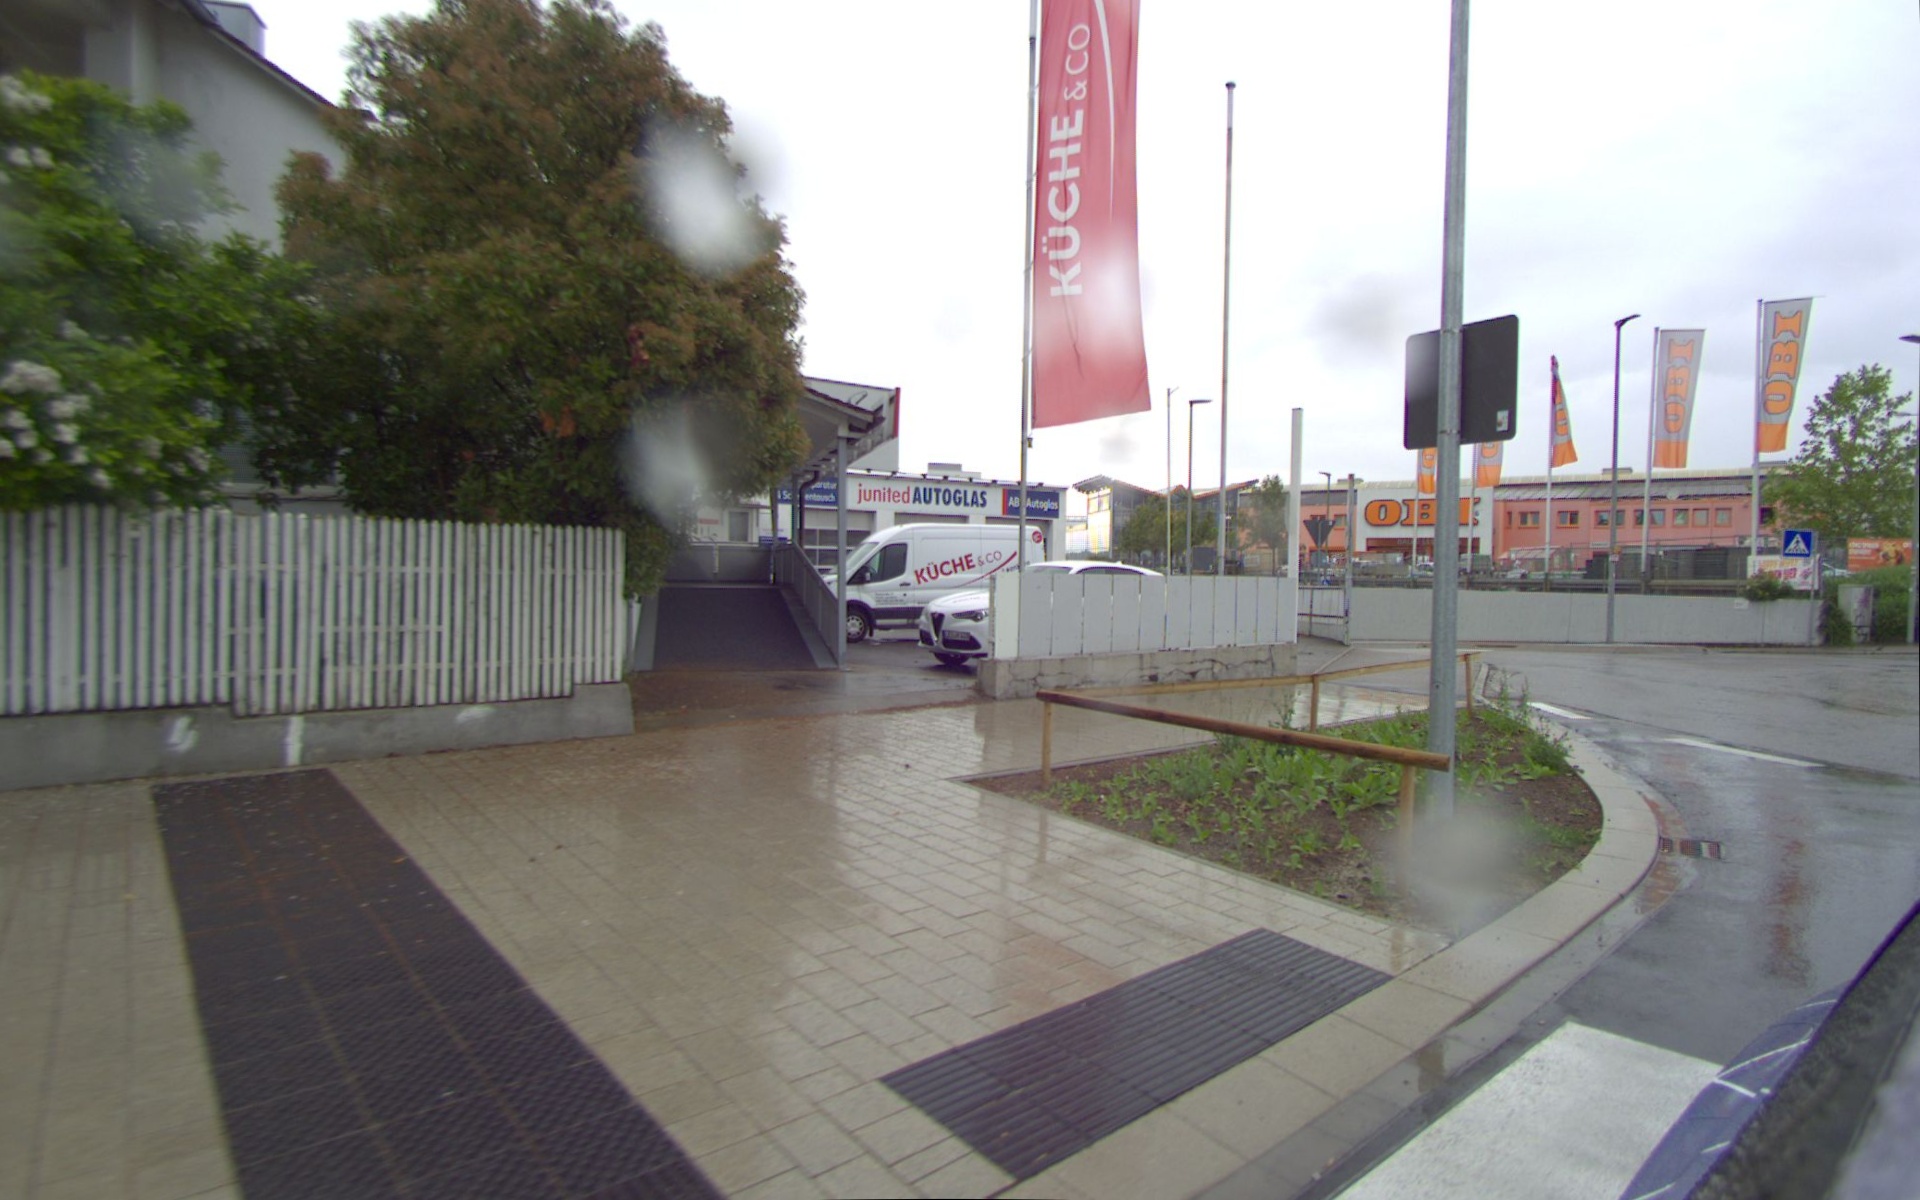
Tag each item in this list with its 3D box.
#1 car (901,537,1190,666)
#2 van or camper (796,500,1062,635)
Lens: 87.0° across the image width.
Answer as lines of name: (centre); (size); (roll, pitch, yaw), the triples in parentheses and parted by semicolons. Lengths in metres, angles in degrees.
car: (1.344, 0.008, 15.371); (4.089, 1.712, 1.848); (1, 1, -33)
van or camper: (-0.665, -0.629, 21.365); (5.152, 2.572, 2.135); (1, 1, -20)
